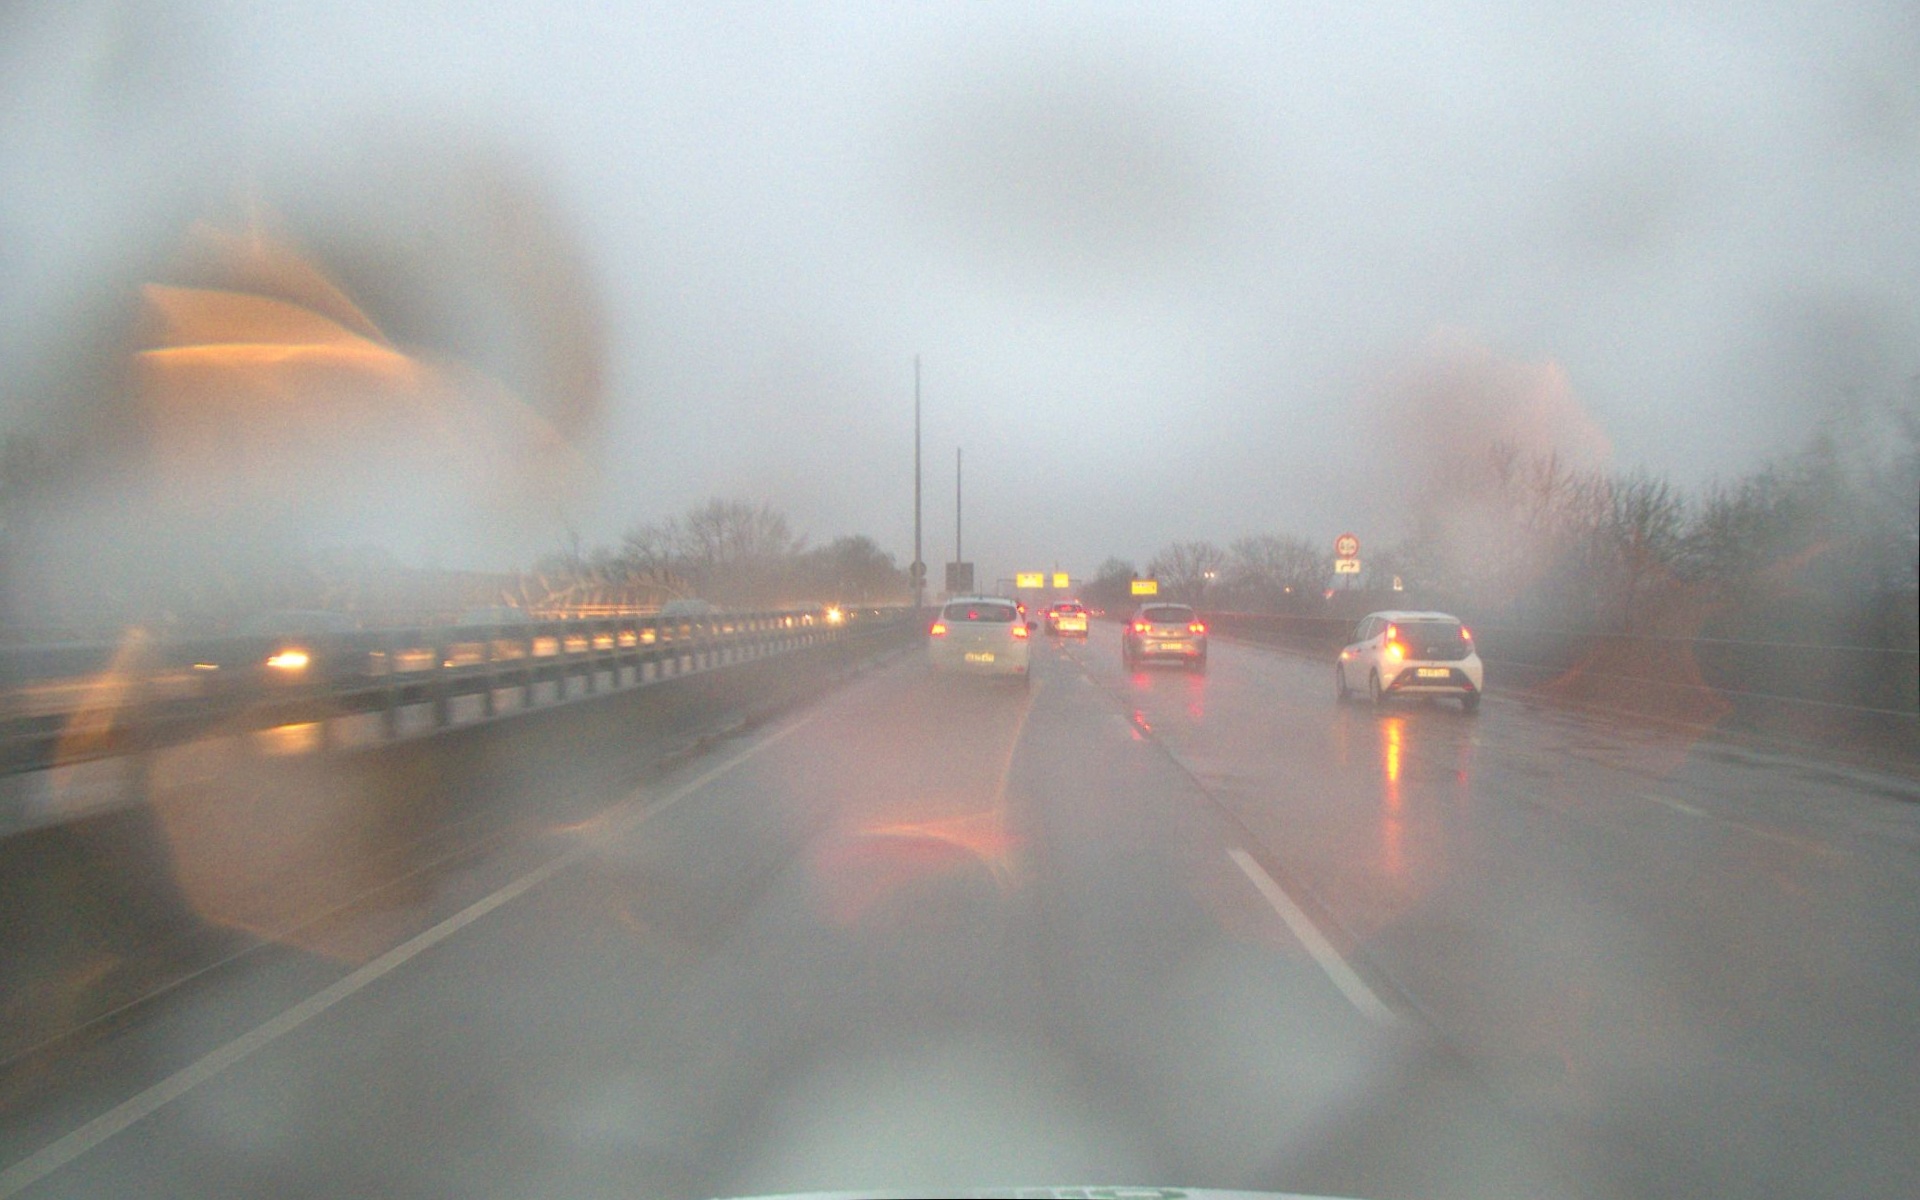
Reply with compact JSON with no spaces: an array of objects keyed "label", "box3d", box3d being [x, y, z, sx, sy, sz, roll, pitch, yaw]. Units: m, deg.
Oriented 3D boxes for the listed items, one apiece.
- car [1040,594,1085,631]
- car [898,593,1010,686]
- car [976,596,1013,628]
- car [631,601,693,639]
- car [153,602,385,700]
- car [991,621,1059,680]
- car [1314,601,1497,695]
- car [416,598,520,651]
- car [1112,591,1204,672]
[{"label":"car","box3d":[4.464,0.512,72.690,1.752,1.572,4.000,0,0,0]},{"label":"car","box3d":[-0.037,0.621,28.545,1.688,1.465,4.227,1,0,3]},{"label":"car","box3d":[1.787,0.577,83.959,1.752,1.572,4.002,1,0,3]},{"label":"car","box3d":[-12.358,0.799,68.832,1.855,1.490,4.000,-1,0,0]},{"label":"car","box3d":[-11.512,0.788,27.968,1.855,1.490,4.830,-1,0,0]},{"label":"car","box3d":[1.946,1.510,50.733,1.952,1.629,4.309,2,0,1]},{"label":"car","box3d":[7.163,0.734,26.990,1.952,1.369,4.000,0,0,1]},{"label":"car","box3d":[-14.403,0.686,48.633,1.855,1.490,4.000,-1,0,0]},{"label":"car","box3d":[4.667,0.707,39.426,1.858,1.798,4.310,1,0,3]}]
